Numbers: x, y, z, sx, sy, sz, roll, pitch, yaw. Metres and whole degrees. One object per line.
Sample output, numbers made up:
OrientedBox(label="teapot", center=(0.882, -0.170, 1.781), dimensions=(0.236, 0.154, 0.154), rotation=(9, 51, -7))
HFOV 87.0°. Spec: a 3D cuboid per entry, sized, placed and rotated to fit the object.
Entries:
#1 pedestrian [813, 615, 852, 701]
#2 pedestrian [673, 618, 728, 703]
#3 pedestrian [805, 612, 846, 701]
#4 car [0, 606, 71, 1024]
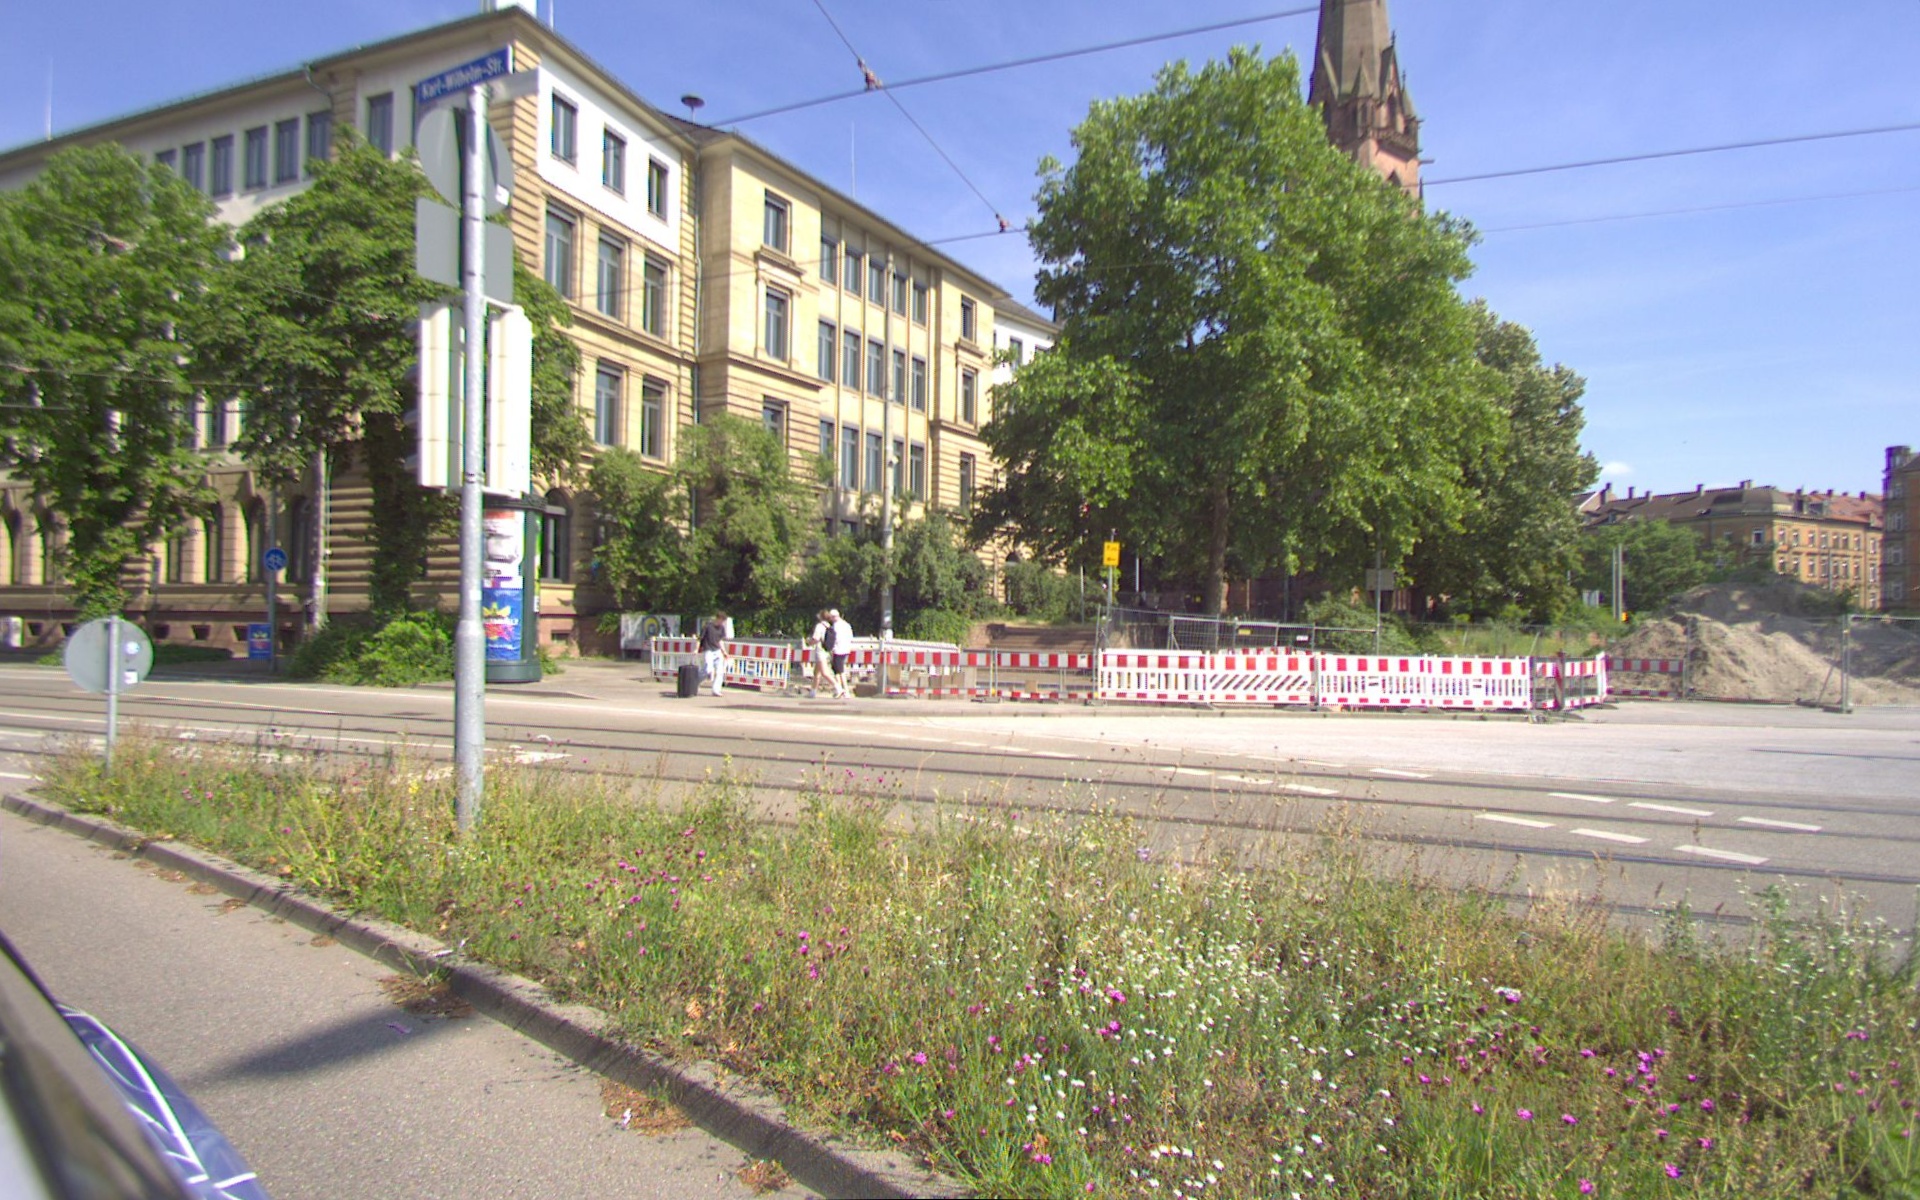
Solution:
OrientedBox(label="pedestrian", center=(-2.655, 1.201, 21.077), dimensions=(0.734, 1.763, 0.585), rotation=(0, -2, -1))
OrientedBox(label="pedestrian", center=(-5.294, 1.217, 20.640), dimensions=(0.924, 1.668, 0.847), rotation=(1, -2, -25))
OrientedBox(label="pedestrian", center=(-2.703, 1.134, 20.416), dimensions=(0.734, 1.763, 0.585), rotation=(0, -2, -1))
OrientedBox(label="car", center=(-5.907, 0.775, 4.454), dimensions=(4.815, 1.530, 1.843), rotation=(0, -2, 34))
